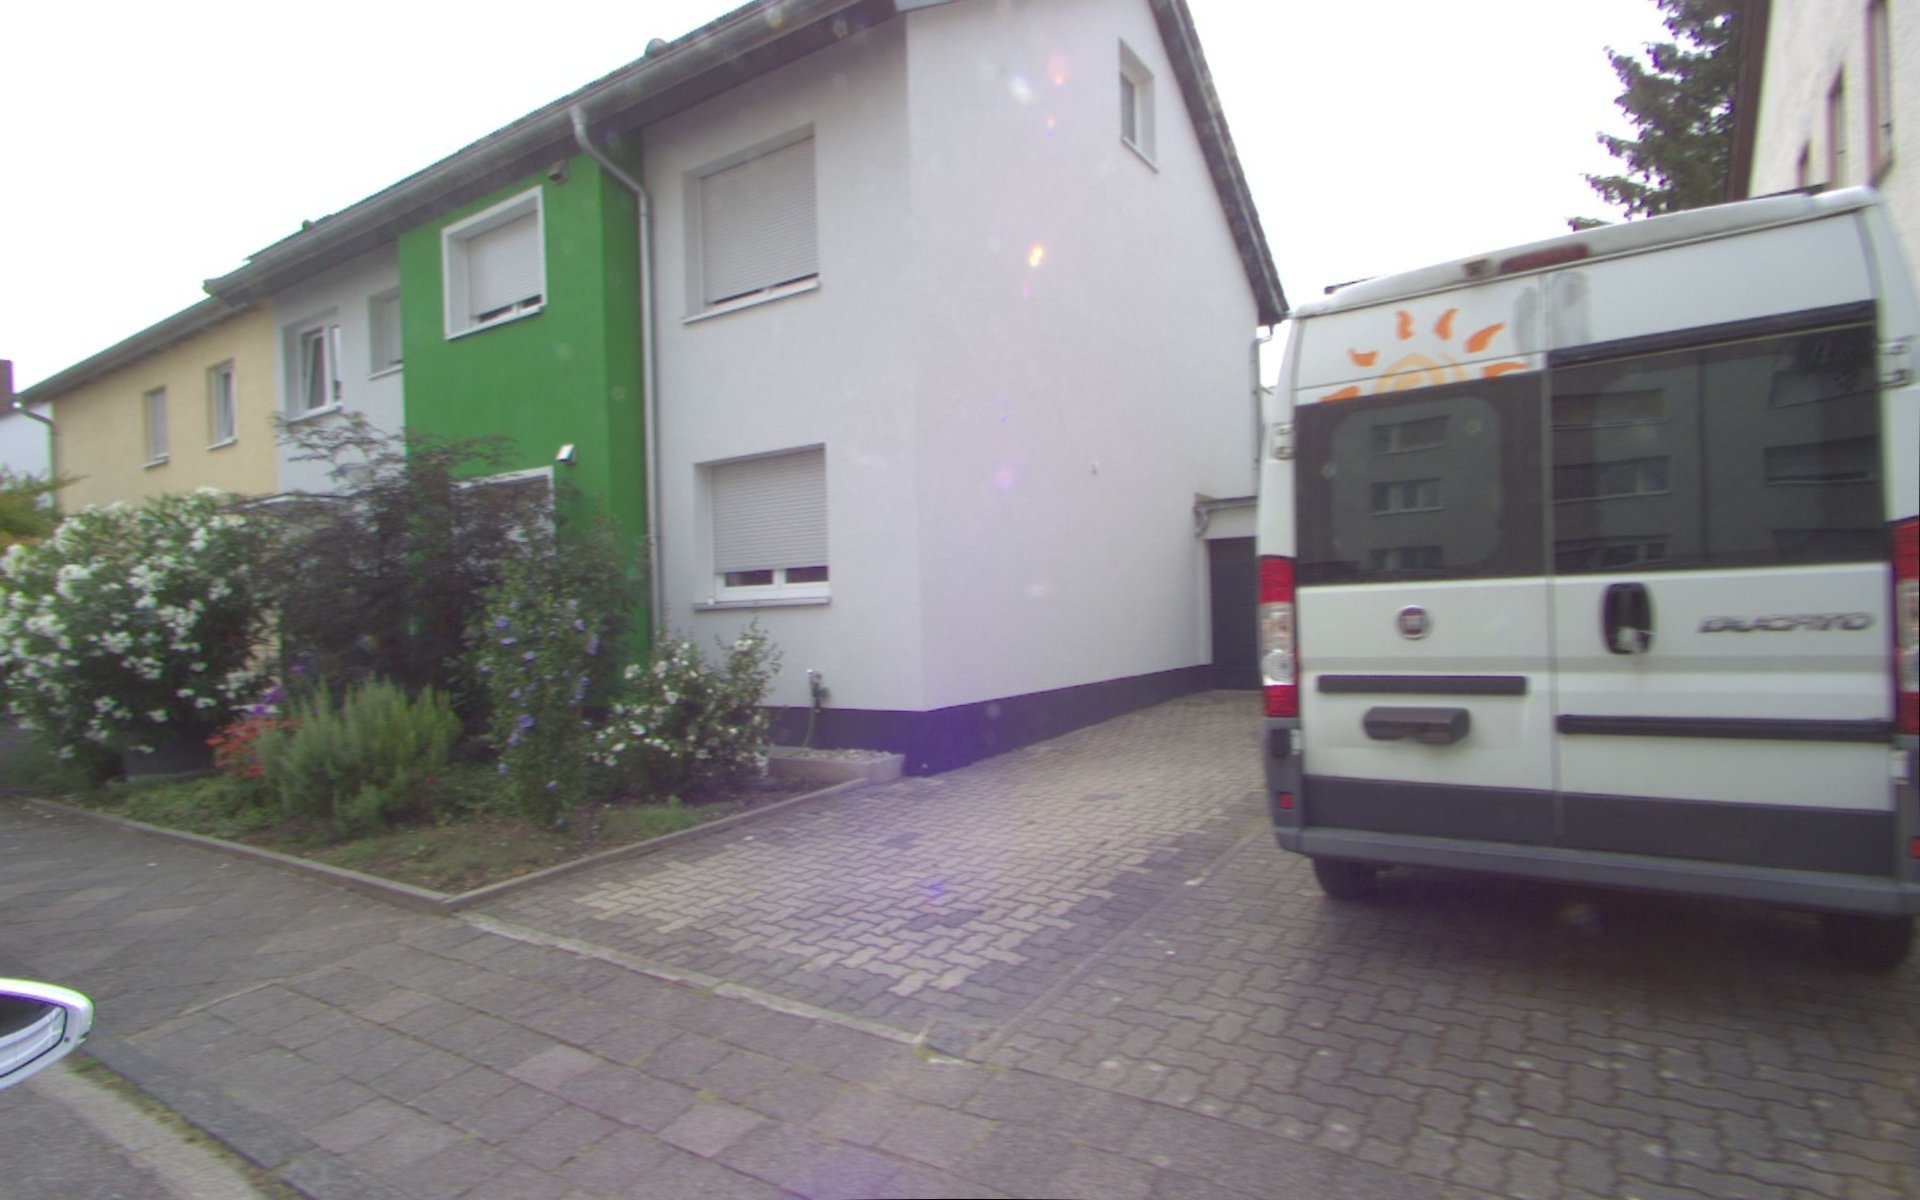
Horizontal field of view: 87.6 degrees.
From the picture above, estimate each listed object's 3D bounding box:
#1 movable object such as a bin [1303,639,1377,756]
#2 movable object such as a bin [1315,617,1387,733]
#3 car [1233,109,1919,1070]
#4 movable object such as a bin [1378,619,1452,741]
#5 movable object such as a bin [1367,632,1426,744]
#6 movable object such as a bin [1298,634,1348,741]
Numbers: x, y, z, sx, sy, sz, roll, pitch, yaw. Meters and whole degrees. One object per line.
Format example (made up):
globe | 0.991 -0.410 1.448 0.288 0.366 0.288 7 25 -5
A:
movable object such as a bin | 3.285 0.824 8.650 0.475 0.938 0.518 -1 2 33
movable object such as a bin | 3.732 0.702 9.555 0.538 1.046 0.454 -1 2 33
car | 3.354 -0.056 5.222 2.207 2.576 5.073 -1 1 33
movable object such as a bin | 4.208 0.724 9.252 0.538 1.071 0.454 -1 2 33
movable object such as a bin | 3.871 0.767 8.873 0.396 0.938 0.448 -1 2 32
movable object such as a bin | 3.347 0.799 9.228 0.334 0.938 0.354 -1 2 33
